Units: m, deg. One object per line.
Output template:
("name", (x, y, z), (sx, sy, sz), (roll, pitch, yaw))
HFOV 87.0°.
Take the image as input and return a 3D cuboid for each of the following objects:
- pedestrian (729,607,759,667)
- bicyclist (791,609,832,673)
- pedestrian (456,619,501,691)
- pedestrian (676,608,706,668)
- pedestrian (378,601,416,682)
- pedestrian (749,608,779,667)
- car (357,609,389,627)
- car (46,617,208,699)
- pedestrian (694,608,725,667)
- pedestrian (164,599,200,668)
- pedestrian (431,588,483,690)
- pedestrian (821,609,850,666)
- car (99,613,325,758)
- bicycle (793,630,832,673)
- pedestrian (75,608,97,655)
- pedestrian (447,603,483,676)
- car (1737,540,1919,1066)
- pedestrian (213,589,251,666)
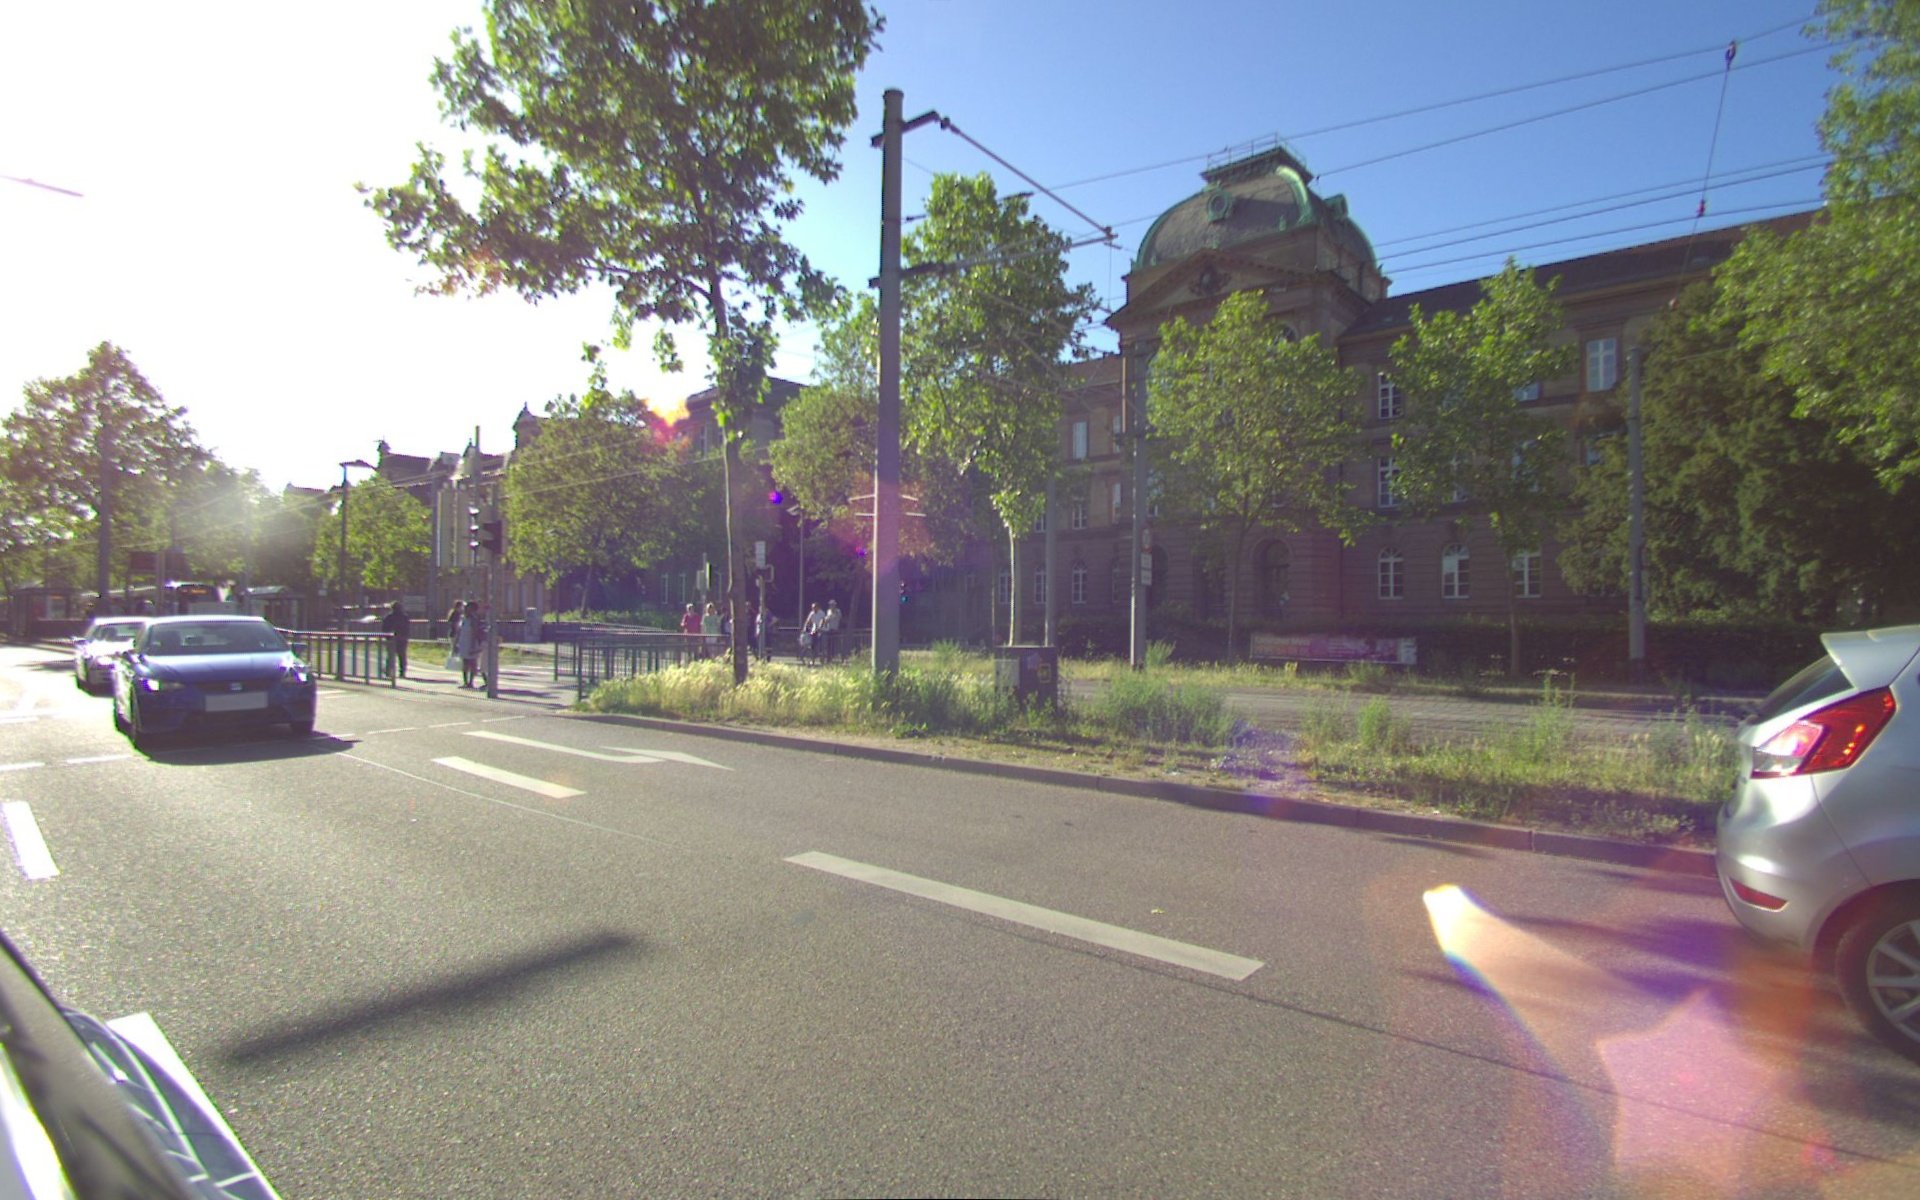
("pedestrian", (-6.399, 1.077, 30.043), (0.692, 1.749, 0.592), (-1, 0, 9))
("bicyclist", (-3.960, 1.073, 27.052), (0.826, 1.656, 0.966), (-1, 0, 9))
("pedestrian", (-8.634, 0.973, 18.145), (0.424, 1.242, 0.588), (-1, 0, 31))
("pedestrian", (-8.016, 1.117, 30.173), (0.692, 1.758, 0.592), (-1, 0, 9))
("pedestrian", (-12.020, 0.871, 21.611), (0.572, 1.674, 0.667), (-1, 0, -40))
("pedestrian", (-5.566, 1.057, 28.759), (0.691, 1.656, 0.593), (-1, 0, 5))
("car", (-39.684, 1.201, 68.396), (2.458, 1.206, 1.166), (-1, 0, 42))
("car", (-16.706, 1.080, 20.235), (3.997, 1.439, 1.776), (-1, 0, 40))
("pedestrian", (-7.232, 1.072, 29.228), (0.692, 1.689, 0.592), (-1, 0, 9))
("pedestrian", (-23.405, 0.988, 30.441), (0.787, 2.029, 0.701), (-1, 0, 43))
("pedestrian", (-9.124, 0.692, 18.363), (0.503, 1.820, 0.640), (-1, 0, 31))
("pedestrian", (-3.613, 1.091, 29.440), (0.692, 1.633, 0.592), (-1, 0, 9))
("car", (-9.309, 0.923, 12.479), (1.753, 1.459, 3.872), (-1, 0, -44))
("bicycle", (-3.942, 1.354, 27.154), (0.538, 1.049, 1.659), (0, 0, 10))
("pedestrian", (-40.474, 1.459, 46.877), (0.705, 2.131, 0.787), (-1, 0, -44))
("pedestrian", (-11.669, 0.912, 23.847), (0.537, 1.674, 0.730), (-1, 0, -44))
("car", (4.583, 0.595, 2.715), (3.862, 1.607, 1.645), (-1, 0, 42))
("pedestrian", (-21.245, 0.798, 29.560), (0.773, 2.204, 0.803), (-1, 0, -28))
